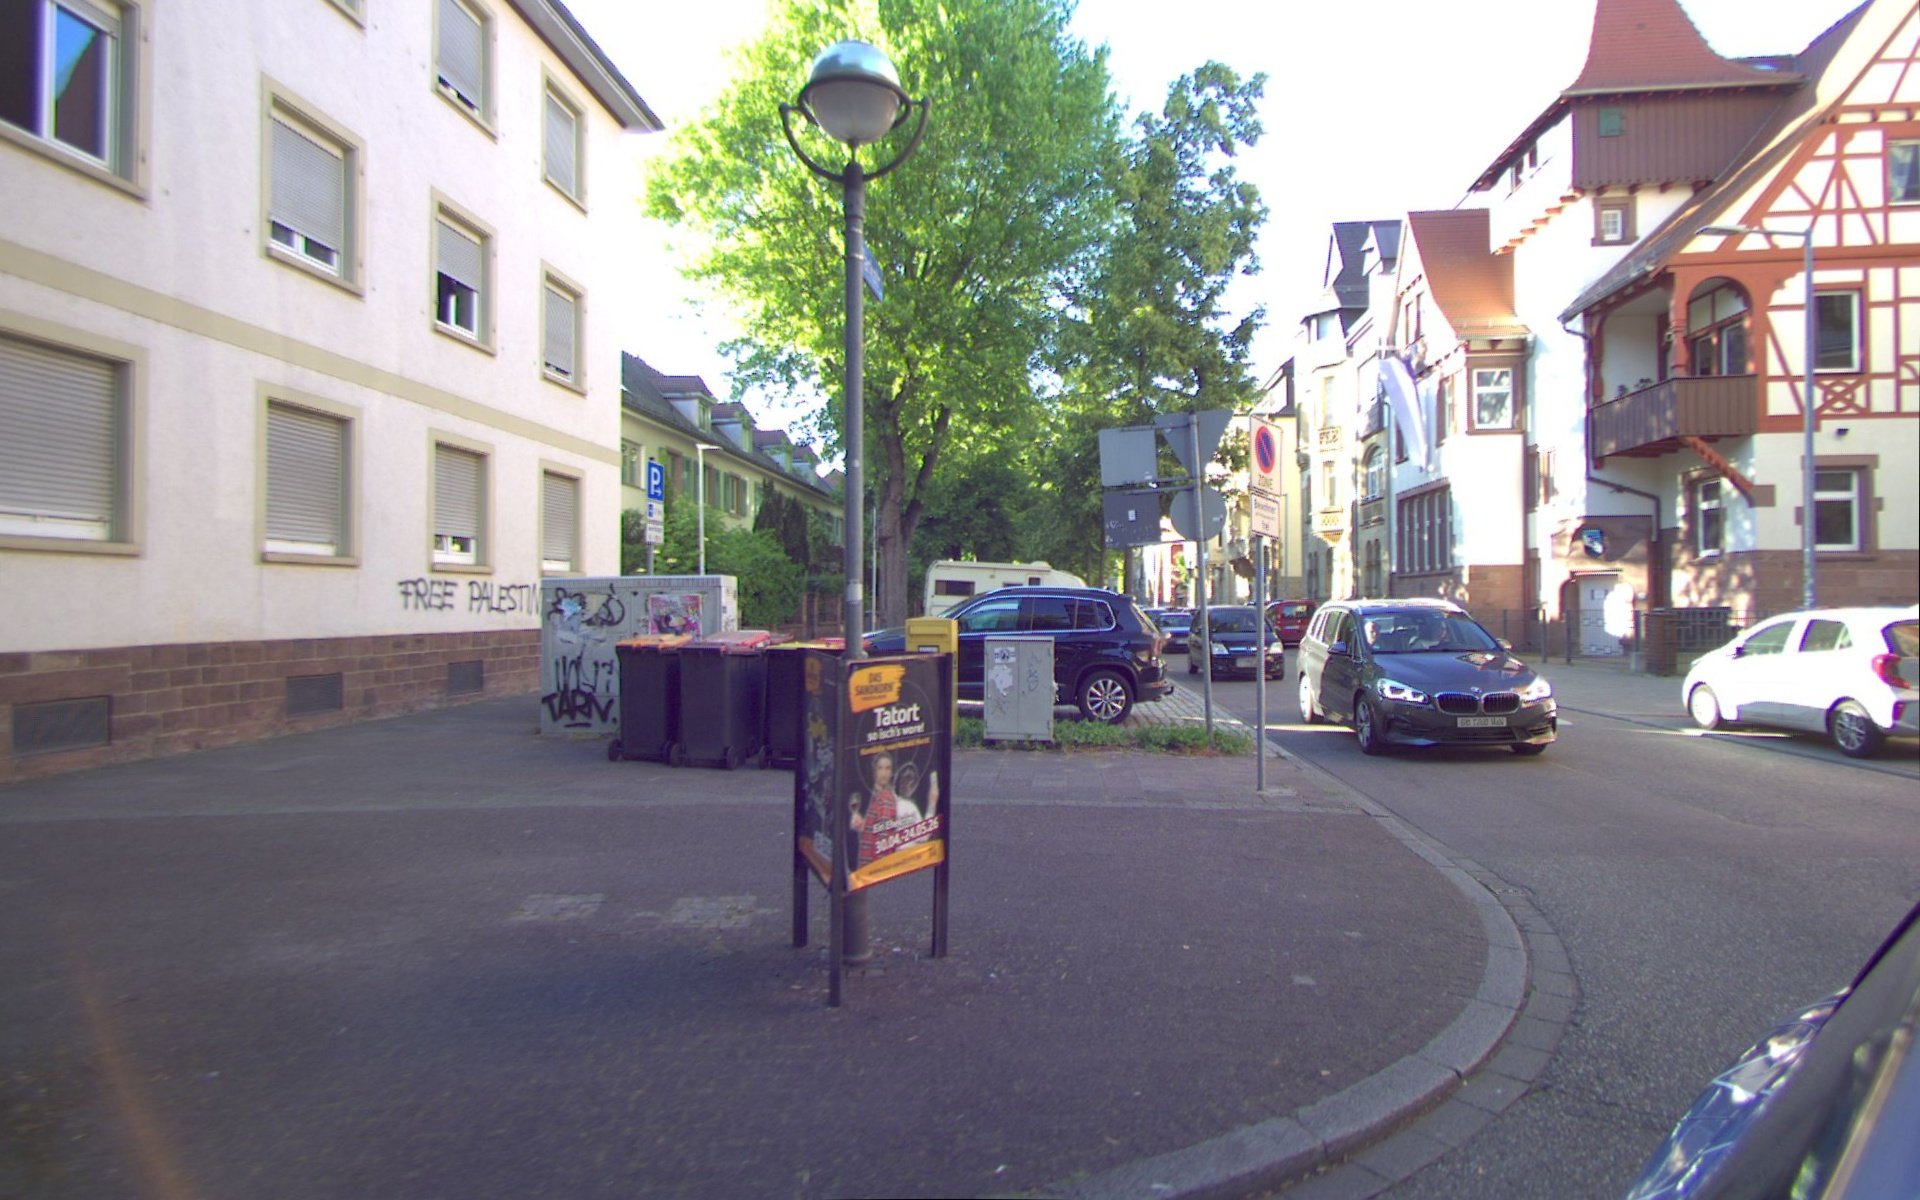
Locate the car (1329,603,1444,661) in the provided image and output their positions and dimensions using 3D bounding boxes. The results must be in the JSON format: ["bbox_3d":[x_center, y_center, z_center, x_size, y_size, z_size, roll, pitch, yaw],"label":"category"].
[{"bbox_3d":[11.882,0.843,28.496,1.718,1.485,4.098,-1,0,4],"label":"car"}]

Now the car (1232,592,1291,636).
[{"bbox_3d":[13.753,0.615,46.392,1.745,1.875,4.533,-2,-1,6],"label":"car"}]

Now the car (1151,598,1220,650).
[{"bbox_3d":[7.981,0.817,36.103,1.965,1.777,3.992,0,0,6],"label":"car"}]

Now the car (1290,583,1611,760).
[{"bbox_3d":[5.321,0.689,11.751,1.892,1.627,4.508,-2,0,6],"label":"car"}]

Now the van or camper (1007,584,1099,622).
[{"bbox_3d":[7.371,0.250,80.326,7.146,2.940,2.424,0,1,7],"label":"van or camper"}]

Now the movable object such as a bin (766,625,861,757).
[{"bbox_3d":[-1.364,0.827,9.497,0.727,1.167,0.700,-1,-1,7],"label":"movable object such as a bin"}]

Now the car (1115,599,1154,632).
[{"bbox_3d":[9.985,0.872,58.126,1.965,1.777,3.992,0,0,6],"label":"car"}]

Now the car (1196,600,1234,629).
[{"bbox_3d":[14.925,0.825,59.422,1.660,1.528,2.856,-4,-1,6],"label":"car"}]

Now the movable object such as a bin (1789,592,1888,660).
[{"bbox_3d":[17.882,0.519,20.620,1.358,1.334,0.687,-1,-1,0],"label":"movable object such as a bin"}]

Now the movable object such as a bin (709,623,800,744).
[{"bbox_3d":[-2.073,0.826,10.273,0.727,1.167,0.700,-1,-1,7],"label":"movable object such as a bin"}]

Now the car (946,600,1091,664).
[{"bbox_3d":[1.521,0.794,25.695,3.540,1.525,1.674,1,-1,8],"label":"car"}]

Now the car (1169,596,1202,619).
[{"bbox_3d":[16.492,0.532,74.192,1.665,1.485,3.769,-5,-1,4],"label":"car"}]

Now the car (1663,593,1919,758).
[{"bbox_3d":[9.981,0.717,11.411,1.681,1.504,3.790,-3,-1,6],"label":"car"}]

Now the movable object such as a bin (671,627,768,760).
[{"bbox_3d":[-2.082,0.793,8.814,0.620,1.089,0.704,-1,-1,7],"label":"movable object such as a bin"}]

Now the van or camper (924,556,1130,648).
[{"bbox_3d":[2.314,0.083,35.668,6.972,3.117,2.462,0,-1,4],"label":"van or camper"}]

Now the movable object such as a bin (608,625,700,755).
[{"bbox_3d":[-2.734,0.786,9.081,0.582,1.097,0.672,-1,-1,5],"label":"movable object such as a bin"}]

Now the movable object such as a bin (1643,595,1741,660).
[{"bbox_3d":[15.212,0.563,21.067,1.361,1.315,0.963,-1,-1,16],"label":"movable object such as a bin"}]

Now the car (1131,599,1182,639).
[{"bbox_3d":[8.992,0.841,46.627,1.965,1.777,3.992,0,0,6],"label":"car"}]

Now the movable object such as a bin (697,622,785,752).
[{"bbox_3d":[-2.052,0.797,9.550,0.623,1.167,0.700,0,-1,7],"label":"movable object such as a bin"}]

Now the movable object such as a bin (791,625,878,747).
[{"bbox_3d":[-1.254,0.842,10.227,0.727,1.167,0.715,-1,-1,7],"label":"movable object such as a bin"}]

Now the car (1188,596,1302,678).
[{"bbox_3d":[6.268,0.775,22.741,1.968,1.613,4.249,-2,-1,10],"label":"car"}]

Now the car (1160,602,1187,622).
[{"bbox_3d":[17.130,0.932,81.242,1.718,1.484,3.990,-2,0,7],"label":"car"}]

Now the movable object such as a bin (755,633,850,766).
[{"bbox_3d":[-1.346,0.836,8.754,0.648,1.078,0.693,-1,-1,7],"label":"movable object such as a bin"}]

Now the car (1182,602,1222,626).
[{"bbox_3d":[16.240,0.914,68.072,1.873,1.457,4.534,-4,-1,6],"label":"car"}]

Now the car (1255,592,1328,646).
[{"bbox_3d":[12.871,0.724,39.578,1.773,1.931,4.316,-2,0,6],"label":"car"}]

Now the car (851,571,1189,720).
[{"bbox_3d":[0.745,0.559,13.174,4.043,1.735,2.022,1,-1,3],"label":"car"}]
